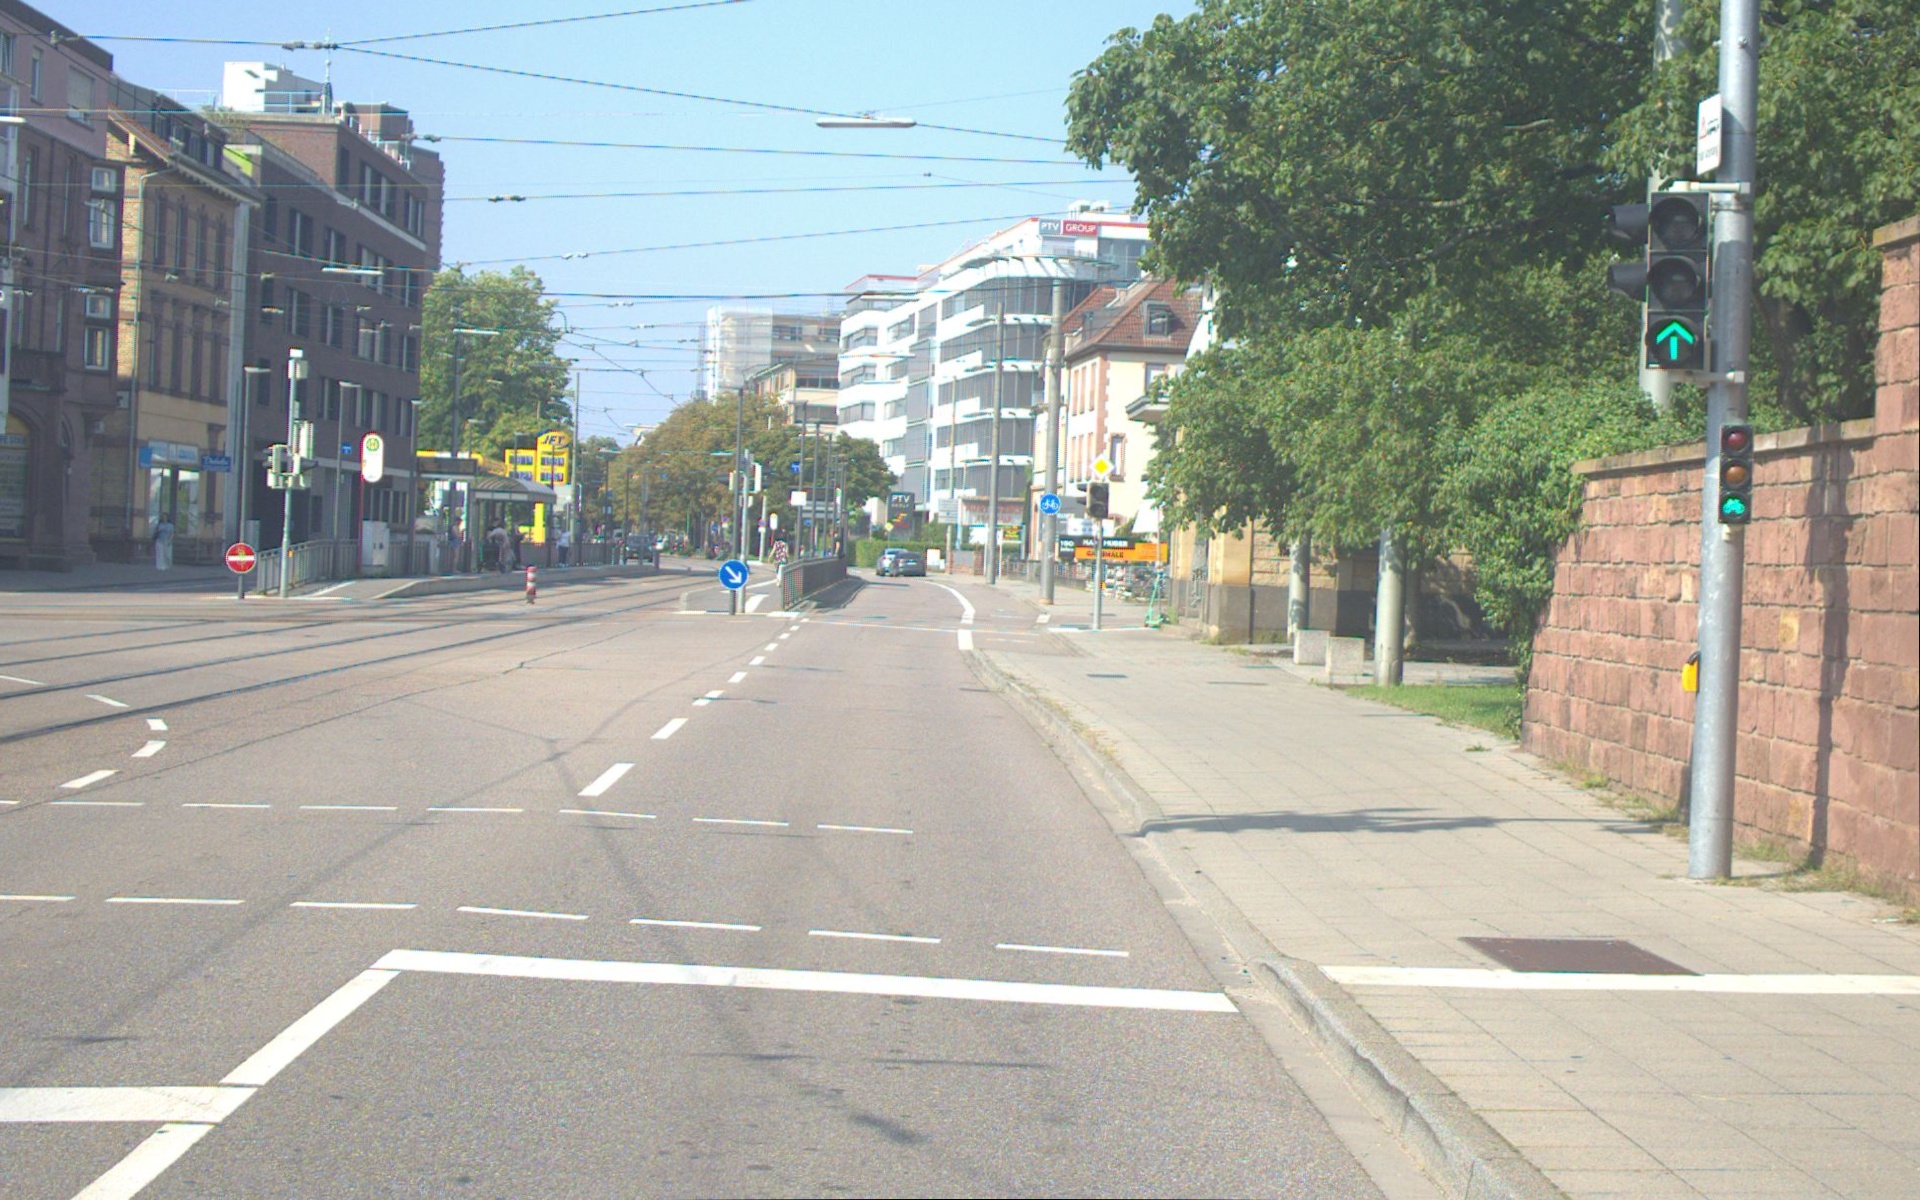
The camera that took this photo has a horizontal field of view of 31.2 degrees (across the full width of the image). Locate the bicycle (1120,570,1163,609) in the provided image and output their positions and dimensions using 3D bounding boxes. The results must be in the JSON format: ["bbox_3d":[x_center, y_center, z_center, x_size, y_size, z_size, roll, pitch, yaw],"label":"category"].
[{"bbox_3d":[5.434,-0.325,103.097,0.731,1.129,2.840,-1,1,-8],"label":"bicycle"}]

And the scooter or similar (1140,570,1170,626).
[{"bbox_3d":[4.033,-0.051,71.277,0.523,1.129,1.511,1,1,0],"label":"scooter or similar"}]

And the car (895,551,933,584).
[{"bbox_3d":[-2.546,-1.823,192.832,2.011,1.852,4.000,1,1,1],"label":"car"}]

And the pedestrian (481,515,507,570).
[{"bbox_3d":[-14.797,-1.835,109.222,0.708,1.741,0.799,1,0,0],"label":"pedestrian"}]

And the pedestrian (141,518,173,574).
[{"bbox_3d":[-22.985,-1.542,98.448,0.483,1.554,0.886,4,0,10],"label":"pedestrian"}]

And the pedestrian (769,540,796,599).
[{"bbox_3d":[-5.141,-0.887,99.476,0.720,1.697,0.884,1,0,0],"label":"pedestrian"}]

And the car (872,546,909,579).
[{"bbox_3d":[-4.021,-2.188,198.949,2.011,1.852,4.000,1,1,1],"label":"car"}]
